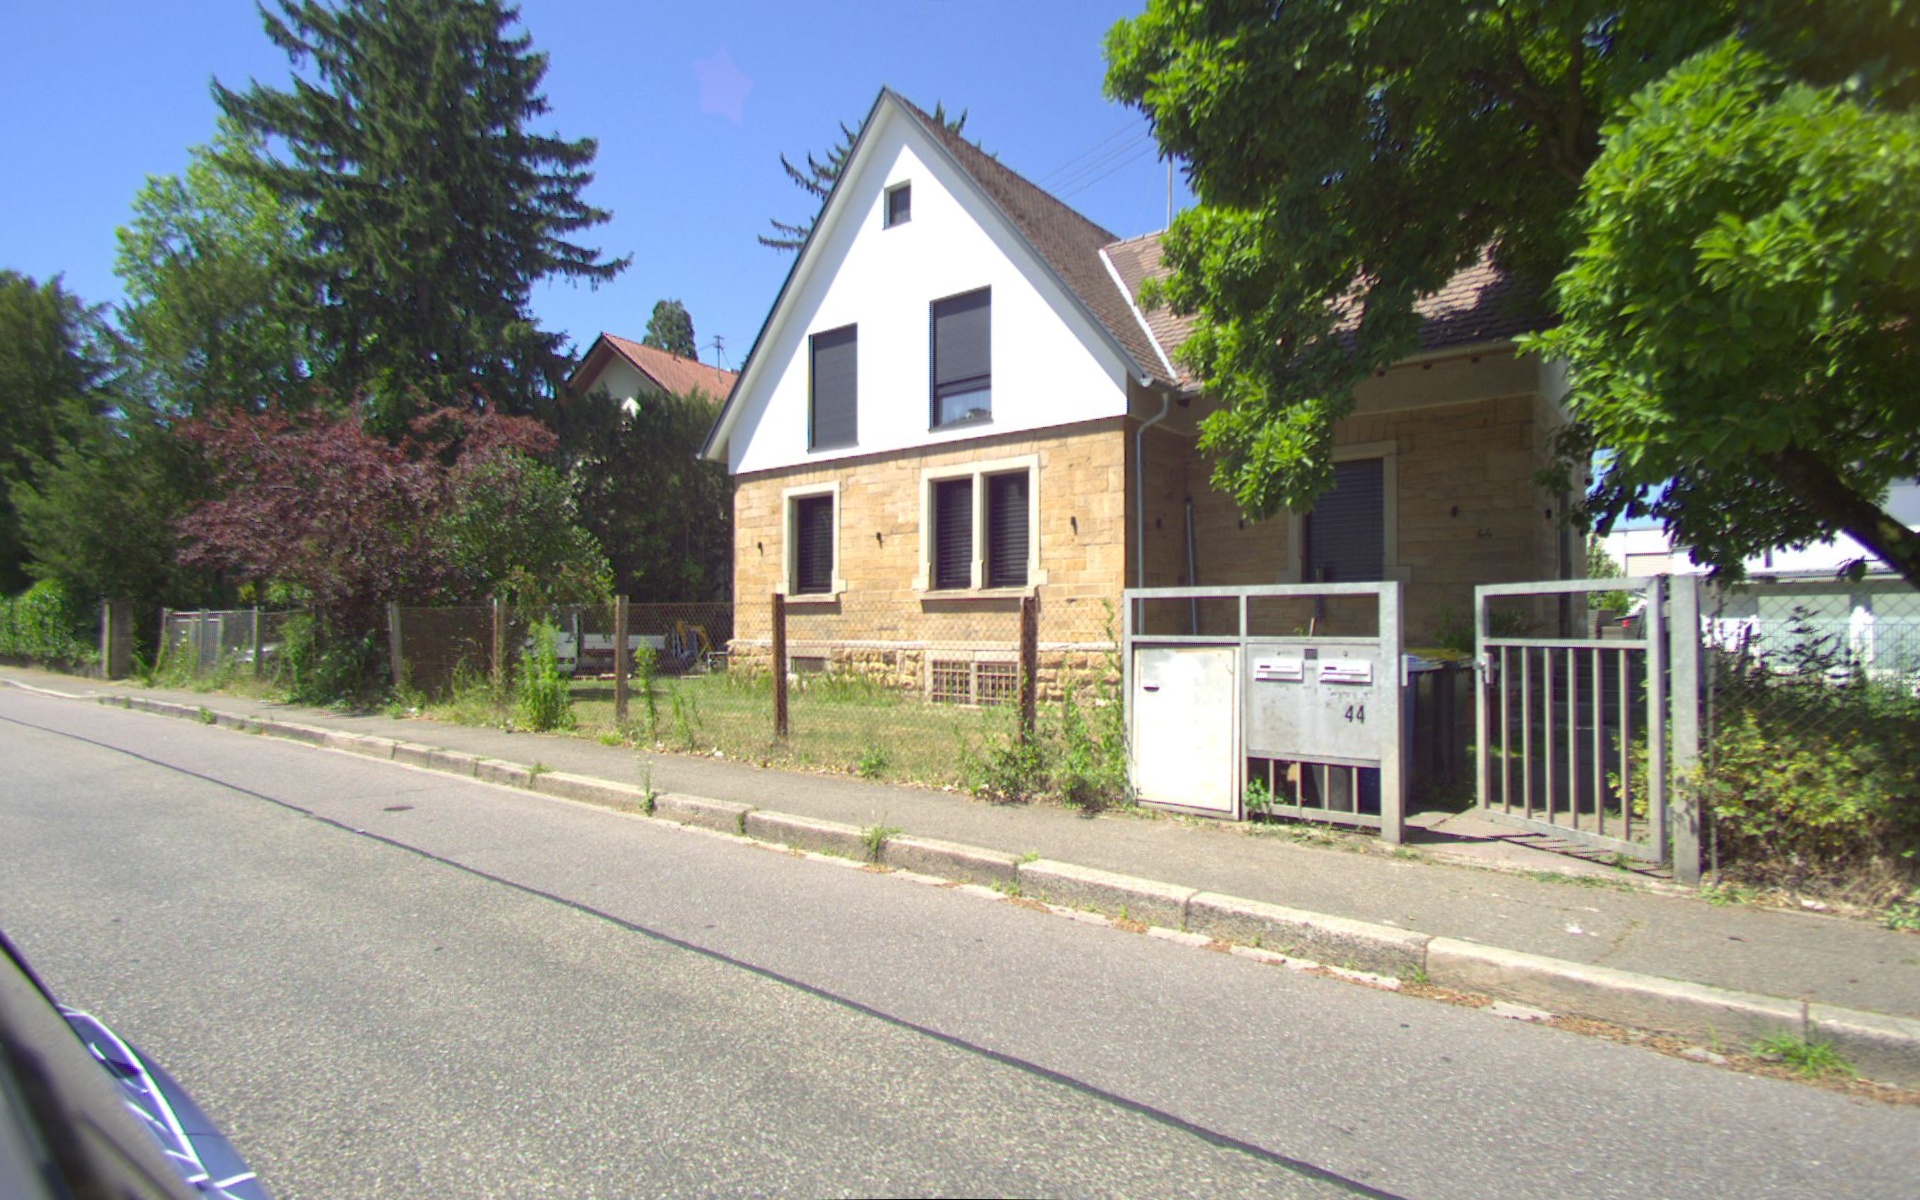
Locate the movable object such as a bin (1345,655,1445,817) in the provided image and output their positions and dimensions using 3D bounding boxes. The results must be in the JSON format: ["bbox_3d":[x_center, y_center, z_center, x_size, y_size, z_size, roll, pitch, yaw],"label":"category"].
[{"bbox_3d":[2.941,0.891,6.841,0.505,1.017,0.462,-2,-2,39],"label":"movable object such as a bin"}]

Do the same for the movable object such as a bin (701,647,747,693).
[{"bbox_3d":[-4.624,1.364,19.861,0.723,0.834,0.560,-2,-1,42],"label":"movable object such as a bin"}]

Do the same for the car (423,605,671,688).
[{"bbox_3d":[-12.049,1.439,30.150,2.396,2.188,6.605,-2,-4,34],"label":"car"}]

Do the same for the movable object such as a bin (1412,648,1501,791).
[{"bbox_3d":[3.768,0.884,7.678,0.505,1.017,0.462,-2,-2,39],"label":"movable object such as a bin"}]

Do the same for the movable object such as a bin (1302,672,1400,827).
[{"bbox_3d":[2.524,0.937,6.526,0.458,0.916,0.462,-2,-2,39],"label":"movable object such as a bin"}]

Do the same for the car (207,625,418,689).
[{"bbox_3d":[-15.834,1.426,24.881,1.968,1.435,3.945,-2,-5,41],"label":"car"}]
